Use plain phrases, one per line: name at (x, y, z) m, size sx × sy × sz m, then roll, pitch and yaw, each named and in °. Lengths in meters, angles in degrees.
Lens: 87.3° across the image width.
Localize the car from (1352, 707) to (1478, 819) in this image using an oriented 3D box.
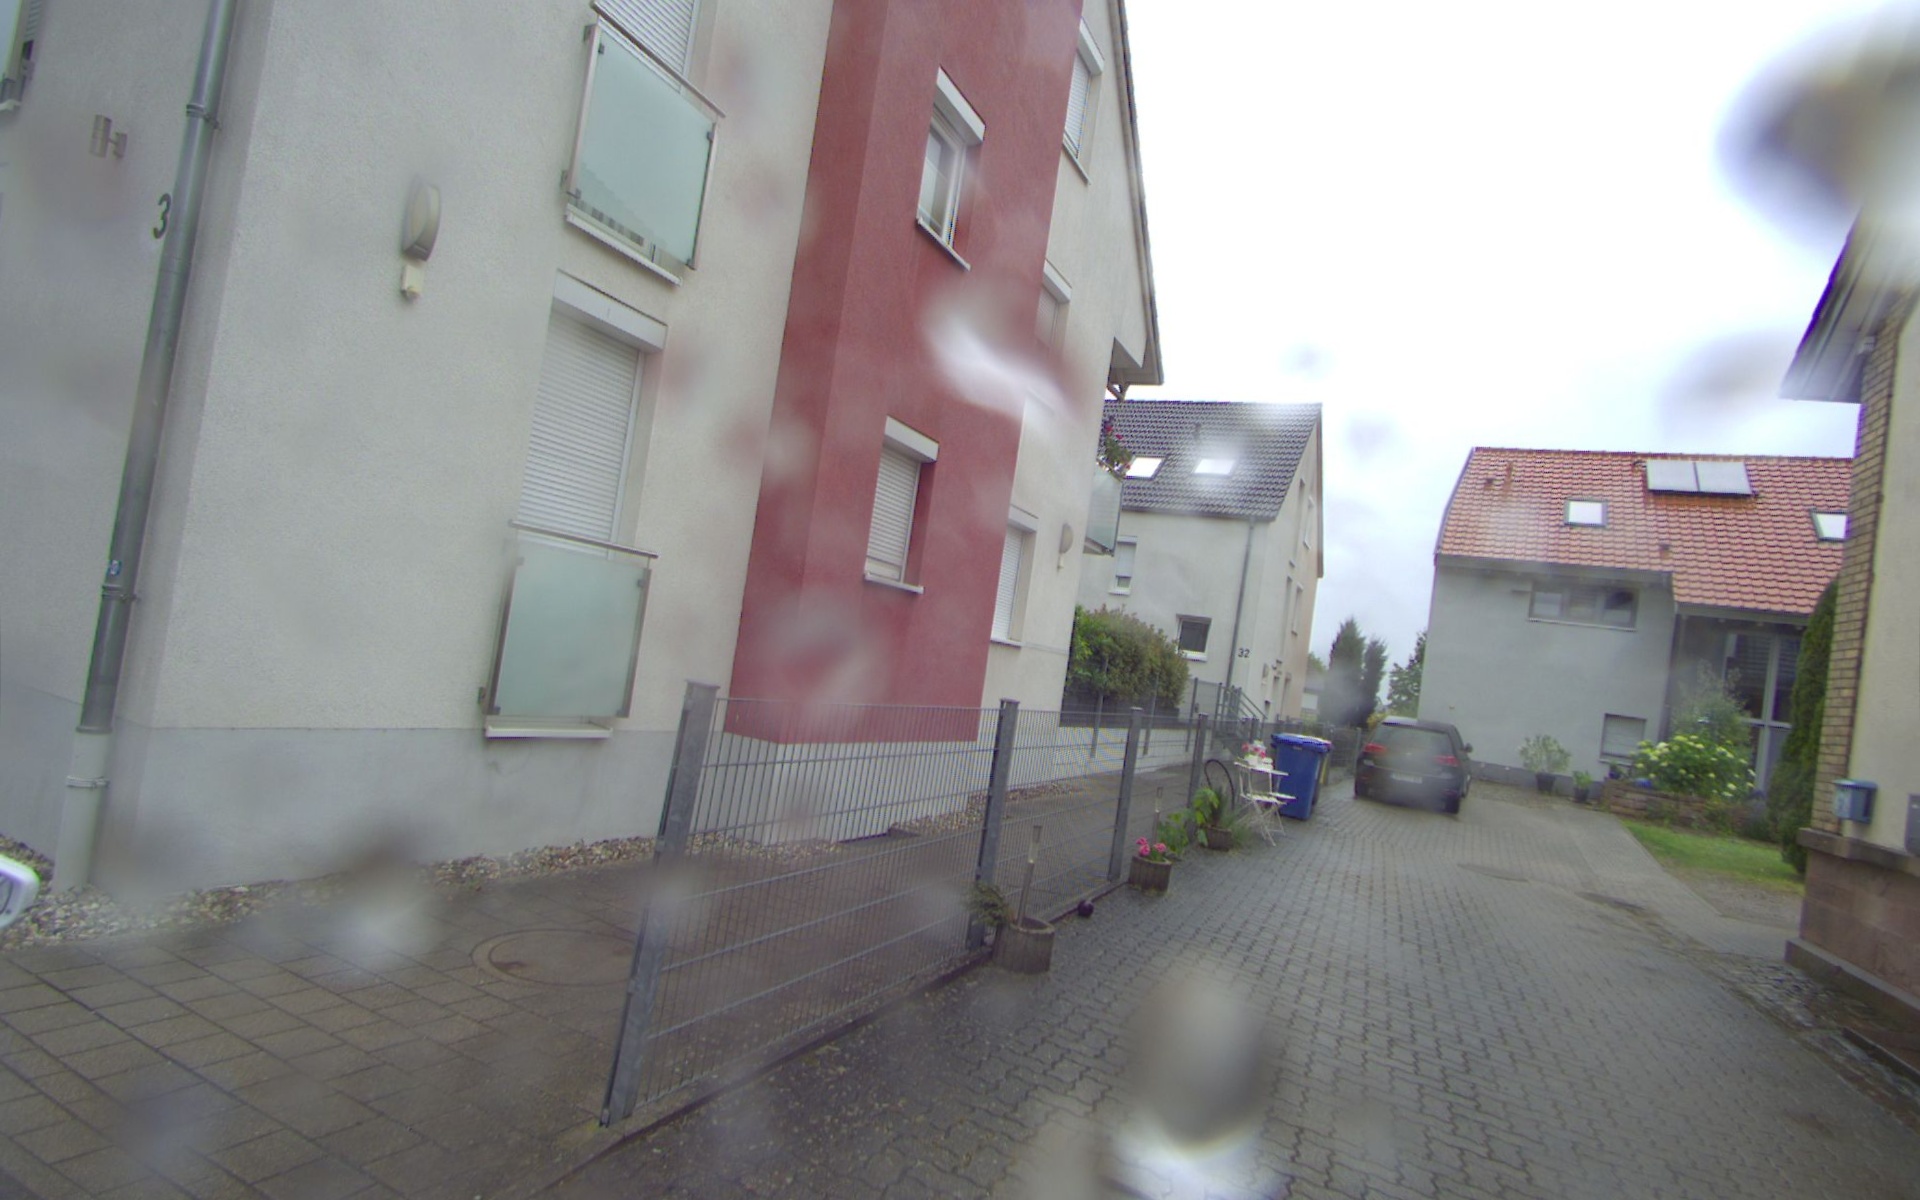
car at (8.545, 2.917, 18.699) m, size 1.656 × 1.491 × 3.993 m, roll 7°, pitch 0°, yaw 30°

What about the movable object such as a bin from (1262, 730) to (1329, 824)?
movable object such as a bin at (4.495, 2.350, 13.457) m, size 0.675 × 1.108 × 0.536 m, roll 7°, pitch -2°, yaw 25°

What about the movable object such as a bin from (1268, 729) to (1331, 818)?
movable object such as a bin at (4.811, 2.442, 14.257) m, size 0.675 × 1.108 × 0.536 m, roll 7°, pitch -2°, yaw 25°
